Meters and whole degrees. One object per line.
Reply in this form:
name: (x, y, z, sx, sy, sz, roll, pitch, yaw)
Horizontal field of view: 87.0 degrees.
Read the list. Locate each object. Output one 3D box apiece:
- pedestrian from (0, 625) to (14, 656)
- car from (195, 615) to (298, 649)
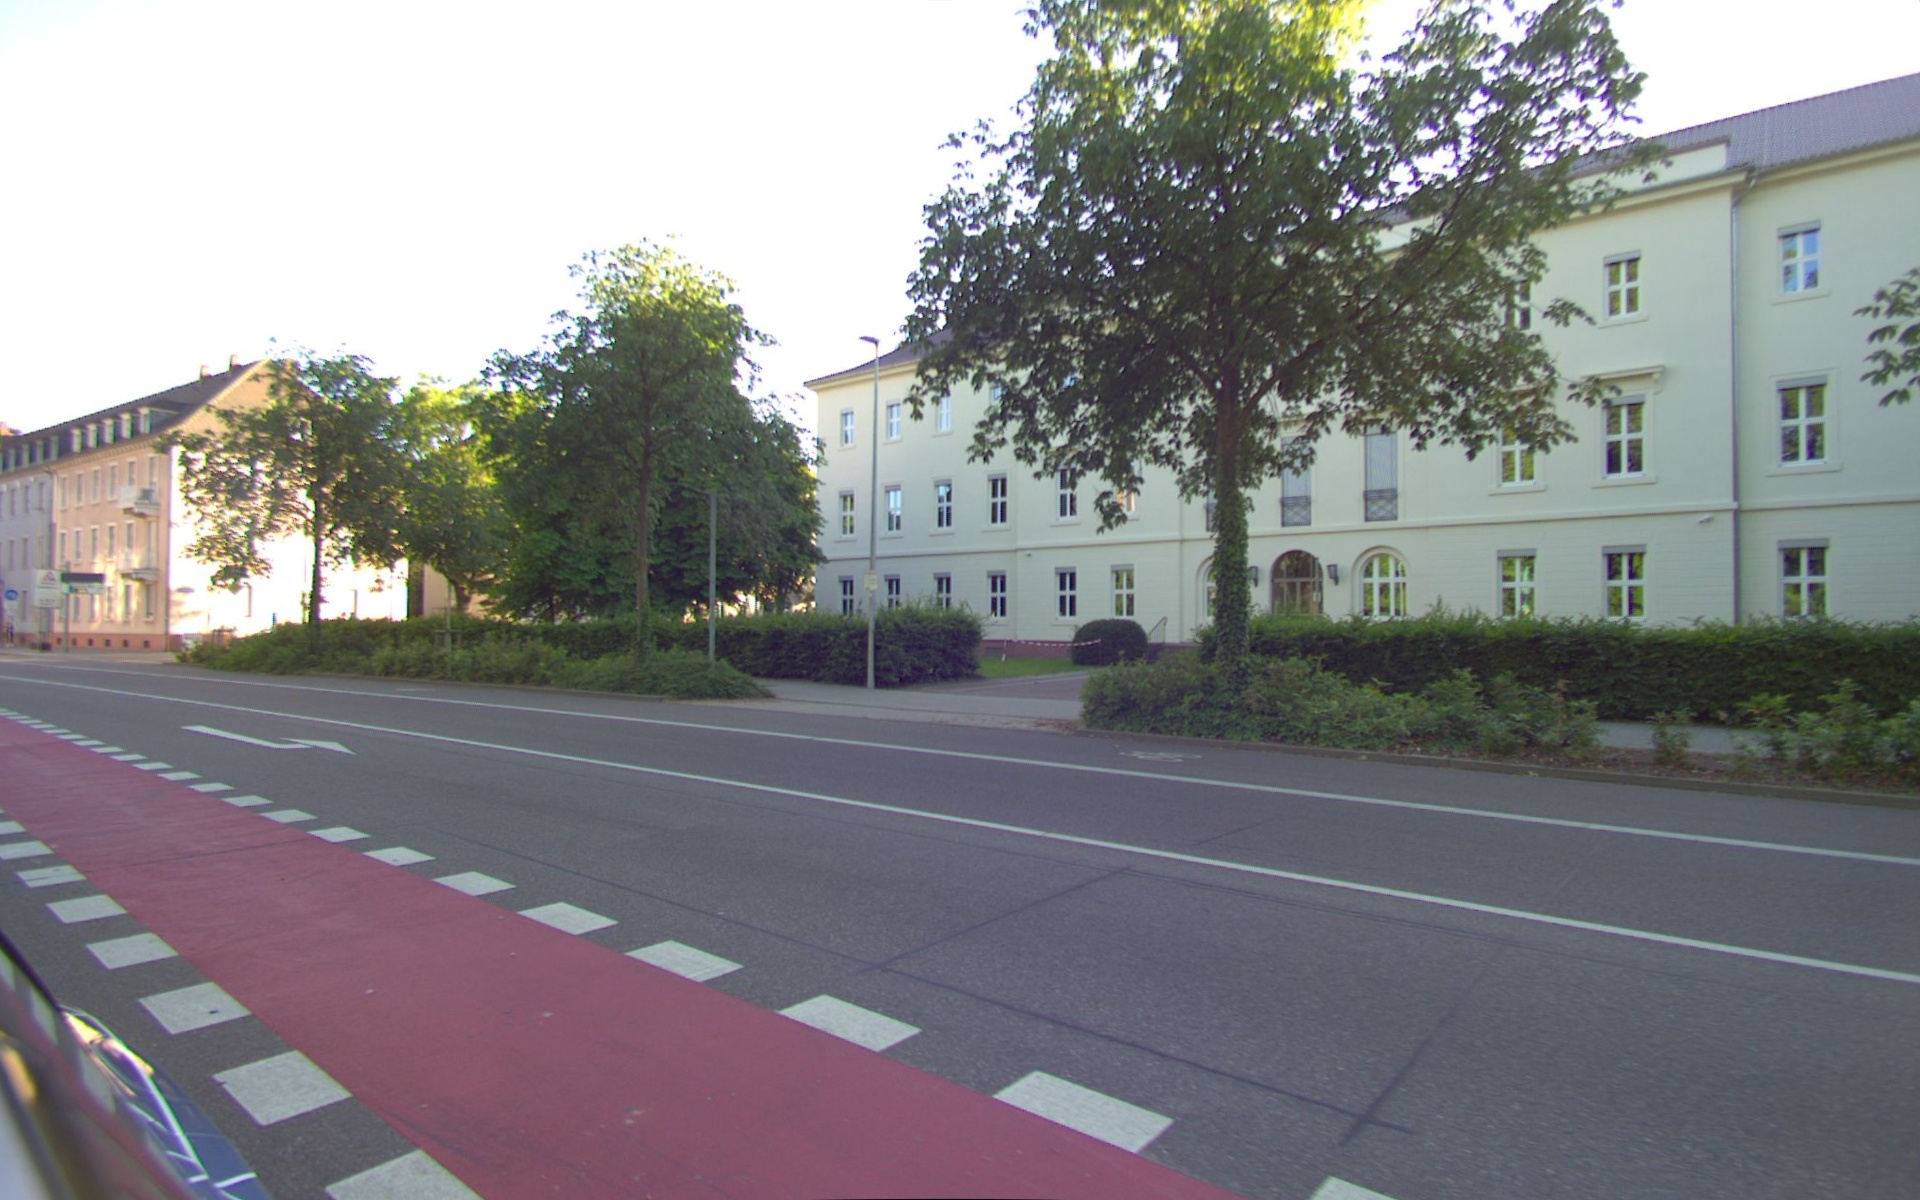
pedestrian: (-61.850, 2.603, 65.328, 1.060, 1.919, 0.938, -1, -1, 33)
car: (-37.228, 1.628, 52.874, 1.993, 1.674, 3.958, 0, -1, 31)
